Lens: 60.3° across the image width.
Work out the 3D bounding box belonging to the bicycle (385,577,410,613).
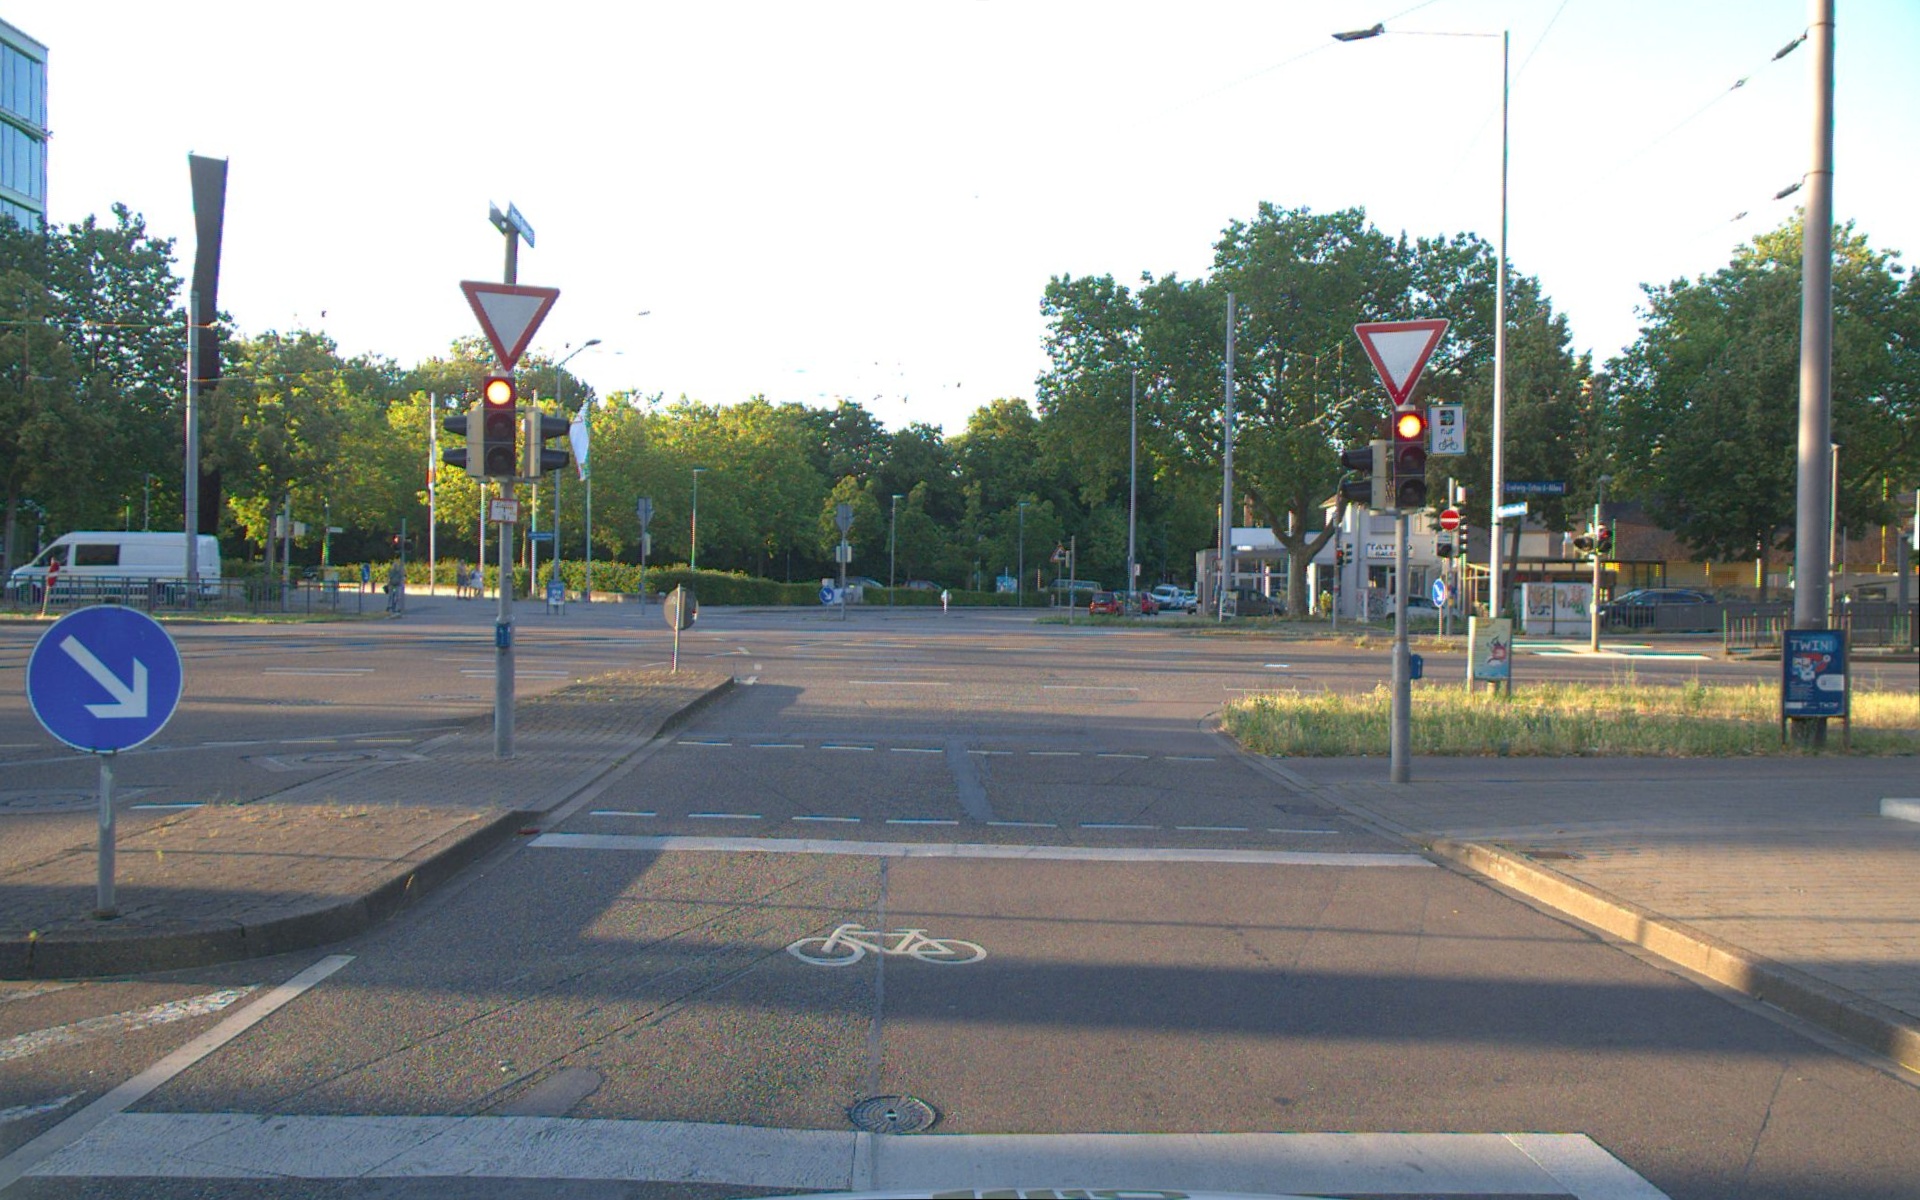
[{"bbox_3d":[-21.460,-0.200,63.070,0.720,1.364,2.672,1,1,-23],"label":"bicycle"}]

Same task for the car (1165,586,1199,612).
[{"bbox_3d":[15.562,-0.059,115.829,1.951,1.691,4.003,0,-1,14],"label":"car"}]

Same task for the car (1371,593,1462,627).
[{"bbox_3d":[20.013,0.444,72.583,3.659,1.465,1.665,1,-1,9],"label":"car"}]

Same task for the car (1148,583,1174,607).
[{"bbox_3d":[16.005,-0.358,131.432,1.823,1.825,4.003,1,-1,10],"label":"car"}]

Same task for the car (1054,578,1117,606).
[{"bbox_3d":[9.515,-0.585,126.022,4.675,2.041,2.000,1,-1,1],"label":"car"}]

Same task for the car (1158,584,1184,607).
[{"bbox_3d":[17.414,-0.348,136.348,1.823,1.825,4.003,0,-1,12],"label":"car"}]

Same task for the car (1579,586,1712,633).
[{"bbox_3d":[22.366,0.310,54.052,3.662,1.465,1.664,1,-1,1],"label":"car"}]

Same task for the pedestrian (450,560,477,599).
[{"bbox_3d":[-22.823,-0.938,76.015,0.845,1.774,0.827,1,0,36],"label":"pedestrian"}]

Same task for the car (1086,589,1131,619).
[{"bbox_3d":[8.628,0.224,95.808,1.951,1.691,4.003,0,-1,14],"label":"car"}]

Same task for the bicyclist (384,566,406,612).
[{"bbox_3d":[-21.506,-0.429,62.966,0.740,1.739,0.913,1,0,-23],"label":"bicyclist"}]

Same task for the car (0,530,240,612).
[{"bbox_3d":[-28.748,-0.953,56.796,6.777,2.682,2.811,1,-1,-1],"label":"car"}]

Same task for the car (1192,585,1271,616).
[{"bbox_3d":[14.661,0.028,89.384,4.129,1.579,2.001,1,-1,7],"label":"car"}]

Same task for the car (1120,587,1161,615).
[{"bbox_3d":[11.326,0.098,103.537,1.951,1.691,4.003,0,-1,14],"label":"car"}]

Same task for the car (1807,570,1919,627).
[{"bbox_3d":[43.623,-0.077,78.676,5.476,2.596,2.231,1,0,7],"label":"car"}]

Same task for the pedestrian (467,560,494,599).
[{"bbox_3d":[-22.284,-0.950,76.887,0.846,1.774,0.827,1,0,37],"label":"pedestrian"}]
